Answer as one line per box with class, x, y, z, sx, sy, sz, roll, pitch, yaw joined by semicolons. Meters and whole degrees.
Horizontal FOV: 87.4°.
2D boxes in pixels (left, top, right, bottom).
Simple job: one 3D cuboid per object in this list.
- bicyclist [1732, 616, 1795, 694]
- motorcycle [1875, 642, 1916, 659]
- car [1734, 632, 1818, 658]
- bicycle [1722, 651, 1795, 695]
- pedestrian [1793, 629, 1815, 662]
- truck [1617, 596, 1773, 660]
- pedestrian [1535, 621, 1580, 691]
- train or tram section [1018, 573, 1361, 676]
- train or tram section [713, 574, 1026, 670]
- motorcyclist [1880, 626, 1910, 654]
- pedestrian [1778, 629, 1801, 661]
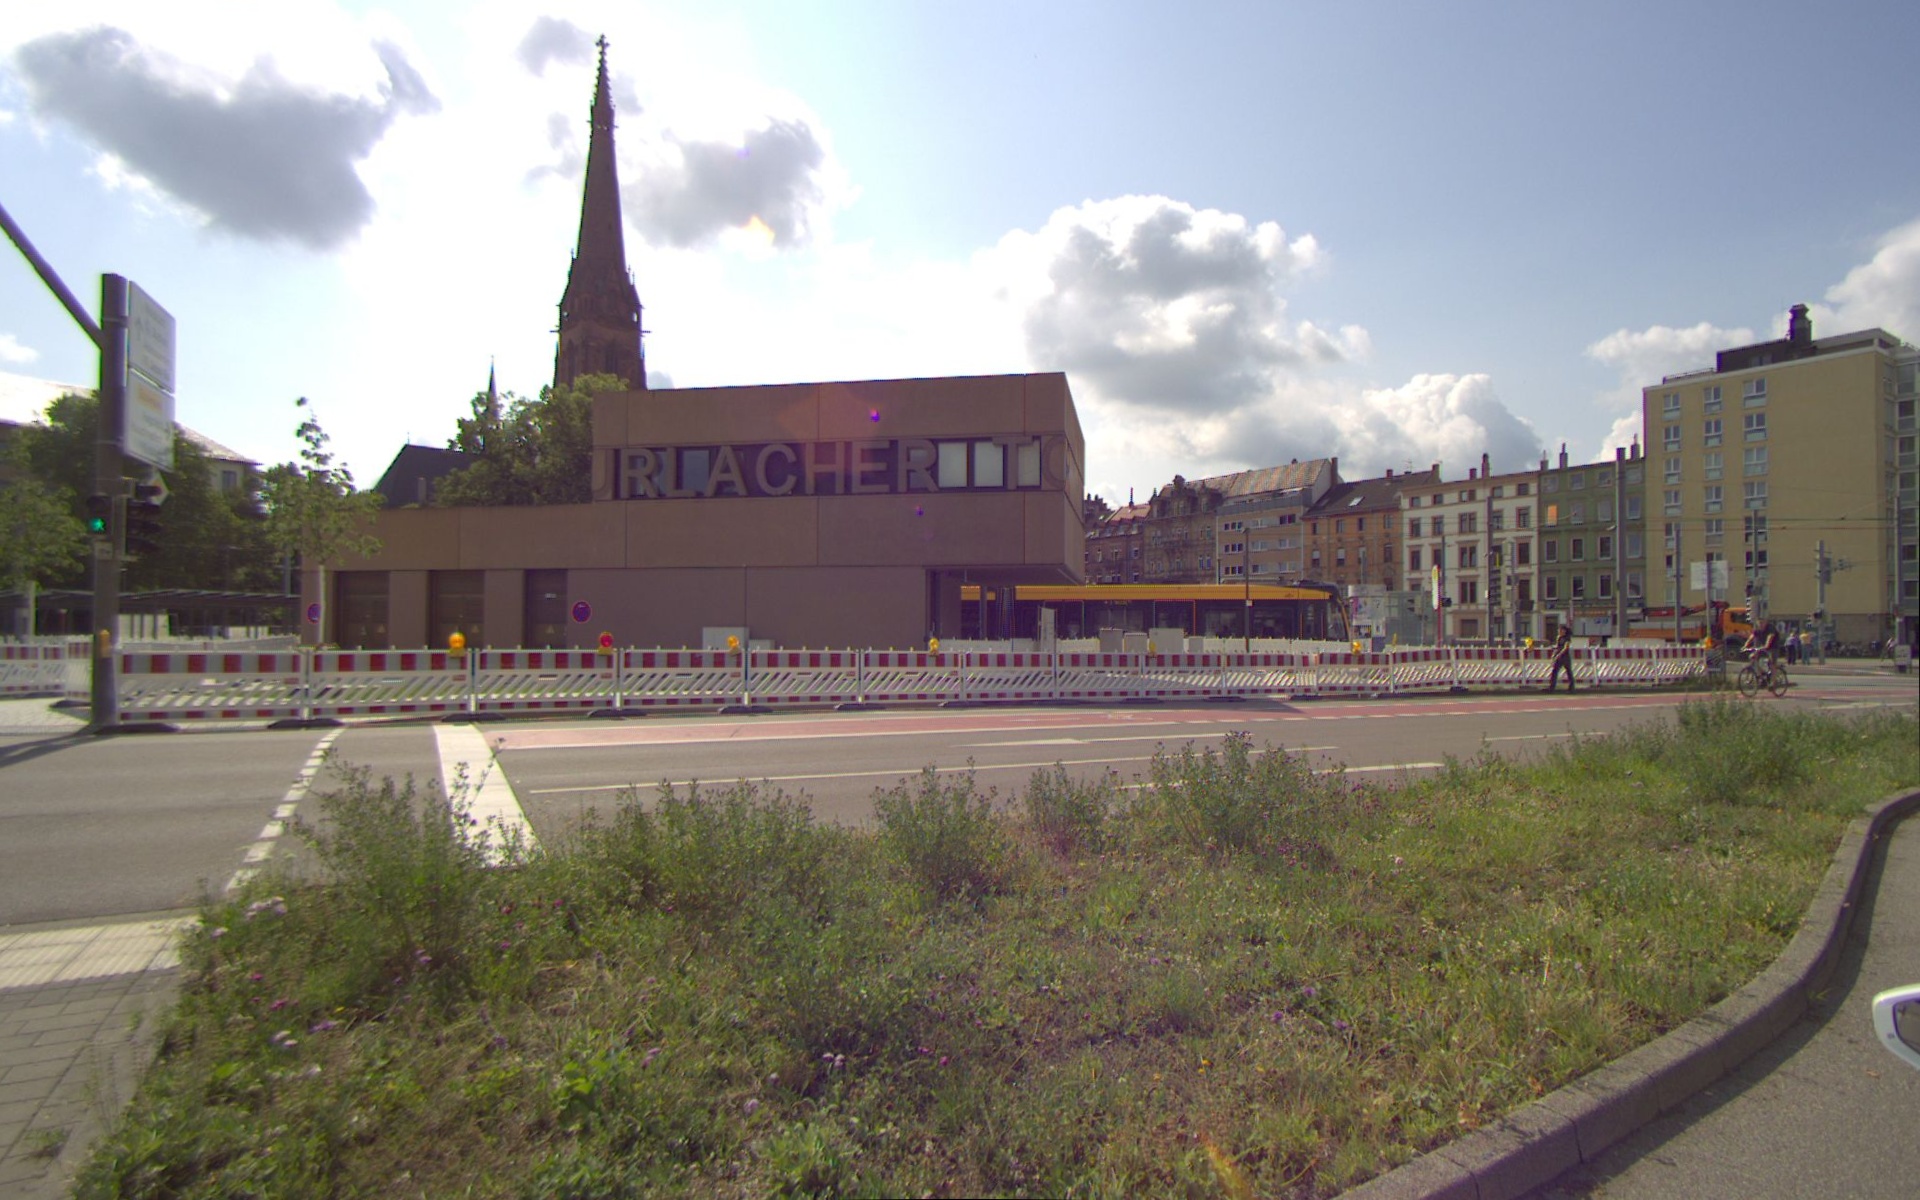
bicyclist;19.509;1.323;24.396;1.144;1.846;0.808;1;-1;-27
motorcycle;61.227;3.304;65.763;2.394;1.130;0.781;1;-2;-14
car;55.222;3.024;68.031;1.795;1.528;4.042;1;1;-34
bicycle;19.353;1.751;24.335;1.992;1.015;0.614;1;-1;-27
pedestrian;48.781;2.623;58.086;0.769;1.893;0.650;1;-1;-18
truck;47.175;1.804;64.757;2.180;3.907;7.857;1;-2;-37
pedestrian;14.860;1.391;24.982;0.631;1.703;0.734;1;-2;-22
train or tram section;8.416;0.901;37.899;12.161;3.619;2.670;0;-2;11
train or tram section;-3.566;0.860;40.137;12.161;3.611;2.632;0;-2;10
motorcyclist;61.258;2.640;65.814;1.221;1.805;0.888;1;-2;-14
pedestrian;48.540;2.644;58.803;0.806;1.884;0.698;1;-1;-19
